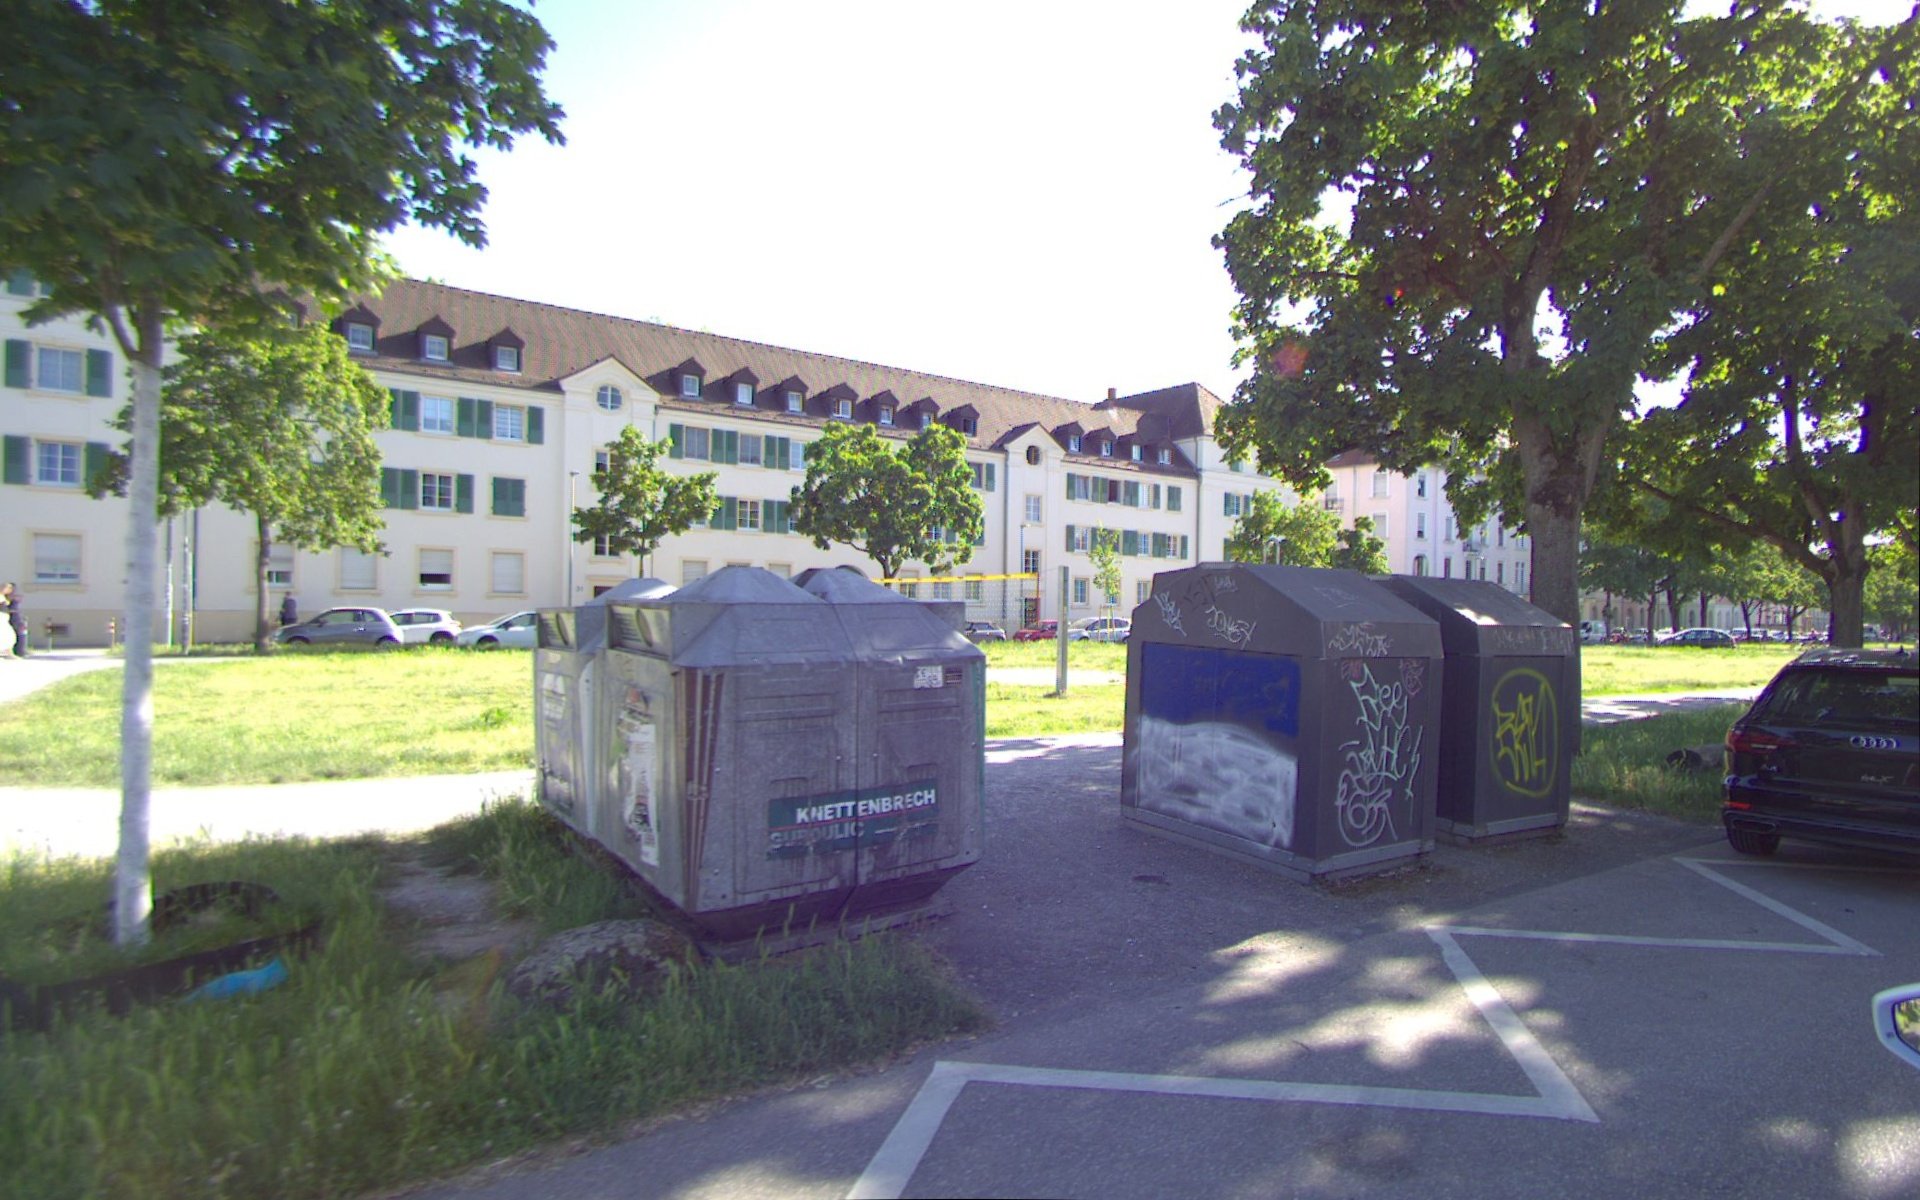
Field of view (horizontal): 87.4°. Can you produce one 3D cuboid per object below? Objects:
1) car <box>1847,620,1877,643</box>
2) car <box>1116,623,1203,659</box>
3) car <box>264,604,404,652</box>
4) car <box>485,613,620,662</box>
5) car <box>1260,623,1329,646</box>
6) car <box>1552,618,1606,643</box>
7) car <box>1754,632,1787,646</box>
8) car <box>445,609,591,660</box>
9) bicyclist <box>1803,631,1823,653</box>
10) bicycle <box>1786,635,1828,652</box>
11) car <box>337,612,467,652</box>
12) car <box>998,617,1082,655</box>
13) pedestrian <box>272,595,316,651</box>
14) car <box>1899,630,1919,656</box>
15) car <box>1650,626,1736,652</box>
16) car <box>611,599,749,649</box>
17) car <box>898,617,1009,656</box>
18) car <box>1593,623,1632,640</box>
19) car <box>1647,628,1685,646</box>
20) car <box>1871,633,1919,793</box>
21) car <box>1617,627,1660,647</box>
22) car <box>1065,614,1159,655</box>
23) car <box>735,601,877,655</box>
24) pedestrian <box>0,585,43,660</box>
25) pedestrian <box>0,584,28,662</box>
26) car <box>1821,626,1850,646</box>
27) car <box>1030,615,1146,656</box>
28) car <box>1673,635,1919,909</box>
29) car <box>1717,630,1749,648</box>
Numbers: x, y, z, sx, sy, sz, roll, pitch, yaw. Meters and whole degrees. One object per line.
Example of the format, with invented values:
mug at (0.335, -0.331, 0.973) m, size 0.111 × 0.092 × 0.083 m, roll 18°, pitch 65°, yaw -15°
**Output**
car at (114.551, 4.023, 127.561) m, size 5.574 × 2.780 × 1.901 m, roll 2°, pitch -1°, yaw -38°
car at (10.355, 2.106, 52.164) m, size 3.967 × 1.773 × 2.303 m, roll 1°, pitch -1°, yaw -34°
car at (-18.953, 0.838, 30.450) m, size 3.481 × 1.350 × 1.638 m, roll 1°, pitch -1°, yaw -36°
car at (-16.025, 1.450, 39.610) m, size 4.602 × 1.787 × 1.979 m, roll 1°, pitch -1°, yaw -37°
car at (22.572, 2.318, 67.665) m, size 4.911 × 1.504 × 1.980 m, roll 2°, pitch -2°, yaw -36°
car at (49.842, 2.468, 80.799) m, size 5.052 × 1.897 × 2.066 m, roll 2°, pitch -1°, yaw -38°
car at (86.199, 4.118, 106.792) m, size 3.735 × 1.448 × 1.683 m, roll 1°, pitch -1°, yaw -34°
car at (-14.789, 1.151, 33.680) m, size 4.195 × 1.604 × 1.776 m, roll 1°, pitch -1°, yaw -36°
bicyclist at (54.428, 2.652, 64.089) m, size 0.862 × 1.382 × 0.622 m, roll 1°, pitch -1°, yaw 31°
bicycle at (54.209, 2.764, 64.273) m, size 1.947 × 1.030 × 0.657 m, roll 1°, pitch 0°, yaw 31°
car at (-20.263, 1.163, 36.522) m, size 3.961 × 1.374 × 1.757 m, roll 1°, pitch -1°, yaw -36°
car at (4.362, 1.932, 54.643) m, size 4.128 × 1.930 × 2.247 m, roll 1°, pitch -1°, yaw -37°
pedestrian at (-24.185, 0.824, 36.484) m, size 1.154 × 1.989 × 1.328 m, roll 1°, pitch -1°, yaw -40°
car at (57.490, 2.554, 58.103) m, size 4.272 × 1.428 × 1.916 m, roll 1°, pitch 1°, yaw 31°
car at (47.164, 2.476, 64.743) m, size 4.272 × 1.597 × 1.925 m, roll 0°, pitch -1°, yaw 31°
car at (-11.854, 1.013, 42.709) m, size 5.210 × 2.011 × 2.204 m, roll 2°, pitch -1°, yaw -38°
car at (-0.301, 1.857, 51.321) m, size 5.203 × 1.844 × 2.435 m, roll 1°, pitch -1°, yaw -34°
car at (54.358, 2.627, 83.620) m, size 3.494 × 1.296 × 1.681 m, roll 2°, pitch -1°, yaw -38°
car at (63.435, 3.321, 90.274) m, size 4.044 × 1.547 × 1.681 m, roll 2°, pitch -1°, yaw -38°
car at (11.637, 1.133, 10.730) m, size 5.112 × 1.536 × 1.979 m, roll 1°, pitch -2°, yaw -38°
car at (58.594, 3.188, 86.717) m, size 4.656 × 1.582 × 1.681 m, roll 2°, pitch -1°, yaw -38°
car at (8.809, 1.966, 58.048) m, size 5.209 × 2.245 × 2.512 m, roll 1°, pitch -1°, yaw -37°
car at (-6.099, 1.122, 40.221) m, size 5.210 × 2.011 × 2.204 m, roll 2°, pitch -1°, yaw -38°
pedestrian at (-21.684, 0.523, 23.160) m, size 0.666 × 1.707 × 0.541 m, roll 1°, pitch 0°, yaw -30°
pedestrian at (-21.394, 0.506, 22.420) m, size 0.742 × 1.707 × 0.540 m, roll 1°, pitch 0°, yaw -33°
car at (104.687, 4.313, 120.132) m, size 4.963 × 2.243 × 1.681 m, roll 2°, pitch -1°, yaw -38°
car at (6.294, 1.727, 49.239) m, size 5.397 × 1.844 × 2.435 m, roll 1°, pitch -1°, yaw -34°
car at (7.067, 1.017, 7.211) m, size 4.923 × 1.471 × 1.822 m, roll 2°, pitch -1°, yaw -37°
car at (77.123, 3.854, 100.194) m, size 4.044 × 1.709 × 1.619 m, roll 2°, pitch -1°, yaw -38°
